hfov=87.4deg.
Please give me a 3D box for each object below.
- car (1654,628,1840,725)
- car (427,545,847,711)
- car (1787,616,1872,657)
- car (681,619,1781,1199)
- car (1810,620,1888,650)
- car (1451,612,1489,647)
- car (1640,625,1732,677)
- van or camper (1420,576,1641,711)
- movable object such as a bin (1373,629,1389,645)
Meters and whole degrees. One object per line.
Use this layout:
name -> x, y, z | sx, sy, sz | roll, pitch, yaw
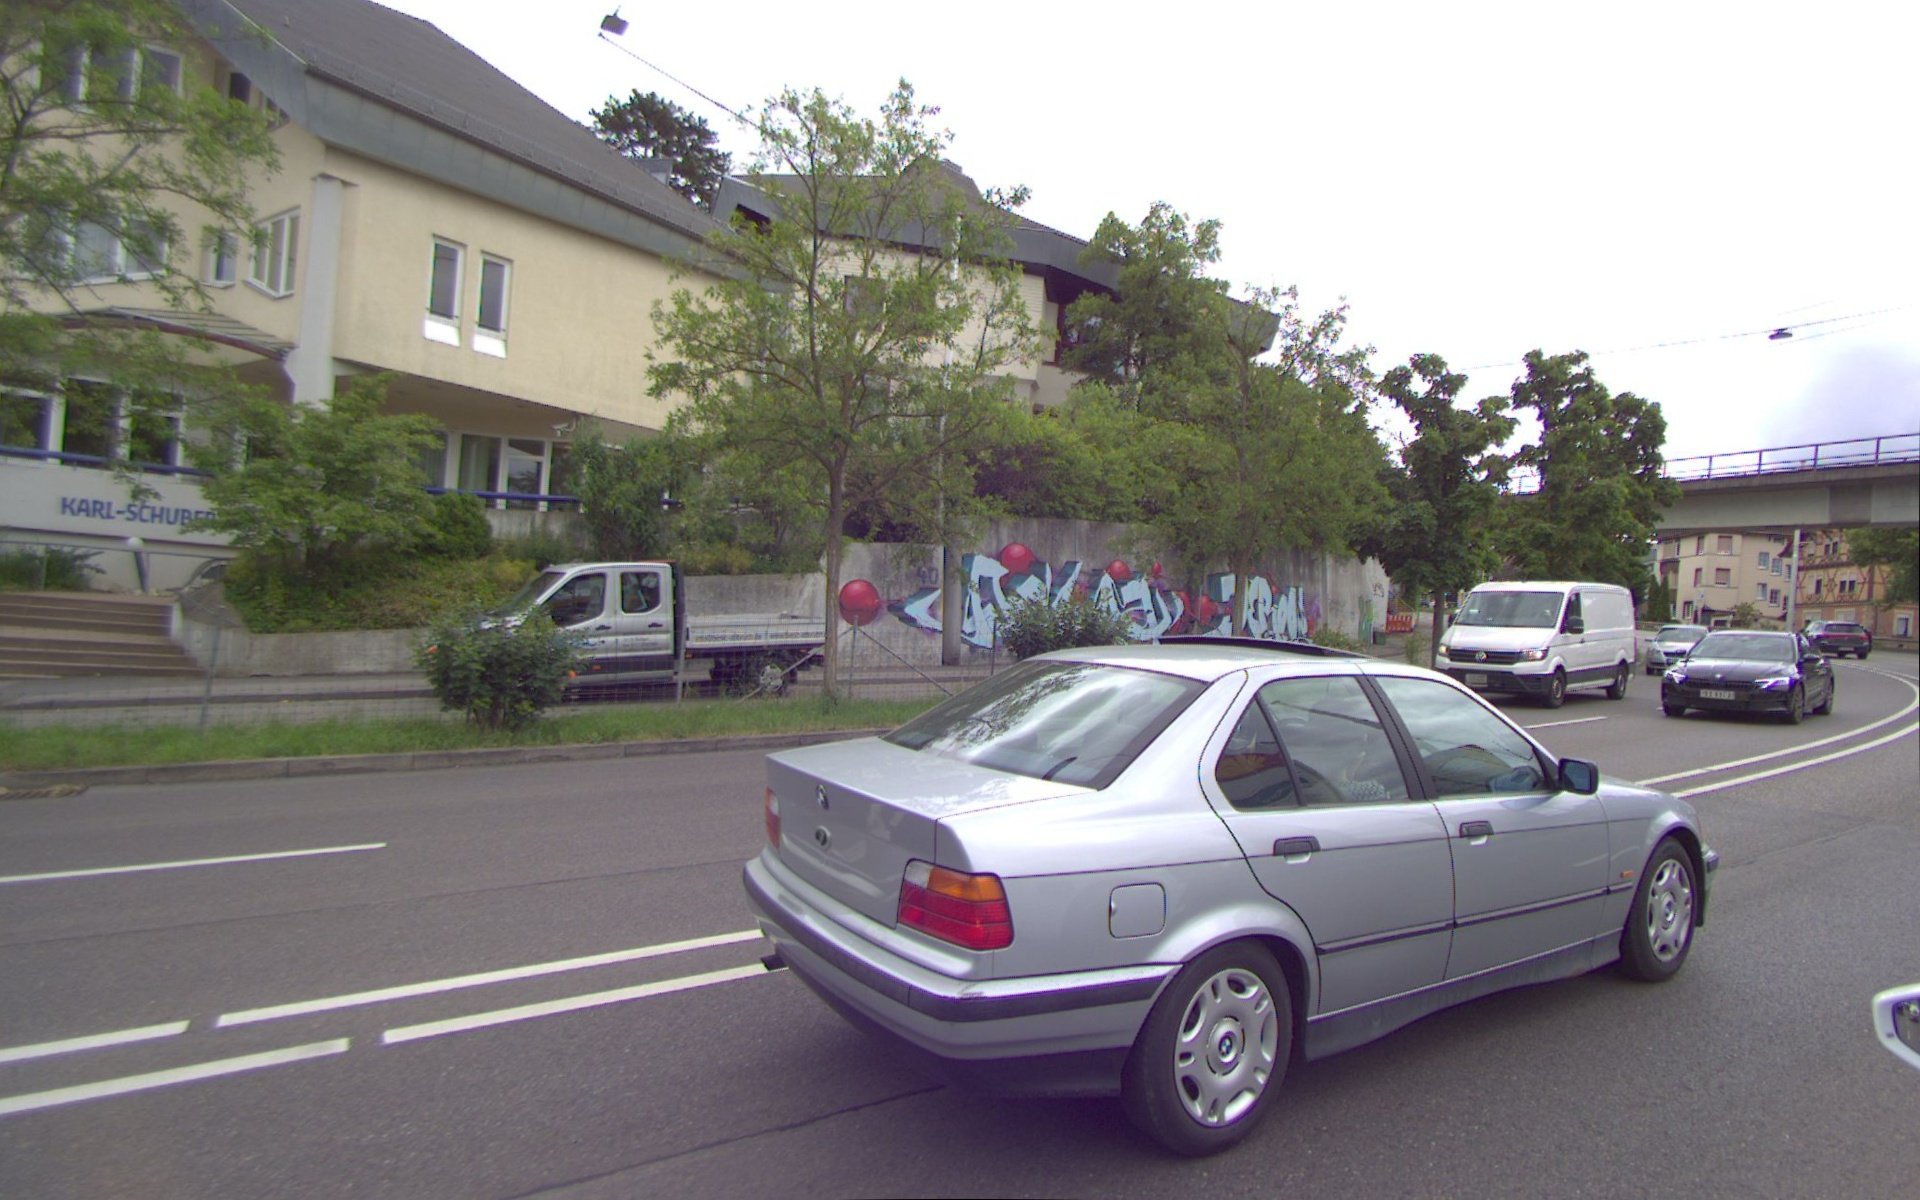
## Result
car -> 13.522, 1.205, 17.167 | 4.394, 1.433, 1.720 | 1, -1, -41
car -> -5.181, 0.460, 16.692 | 6.265, 2.303, 2.252 | 2, -1, -36
car -> 39.183, 1.595, 45.366 | 1.694, 1.662, 3.456 | 2, 1, 19
car -> 1.382, 0.831, 4.064 | 4.569, 1.401, 1.625 | 1, 1, -32
car -> 47.440, 1.835, 53.668 | 1.693, 1.394, 3.458 | 2, 0, 15
car -> 27.636, 1.550, 54.538 | 1.739, 1.809, 4.460 | 0, 0, 26
car -> 21.660, 1.468, 29.934 | 1.685, 1.427, 3.785 | 1, -1, 44
van or camper -> 11.360, 0.789, 19.776 | 5.916, 2.291, 1.991 | 1, -1, -42
movable object such as a bin -> 19.094, 1.686, 45.604 | 0.548, 0.649, 0.581 | 6, 4, 16
